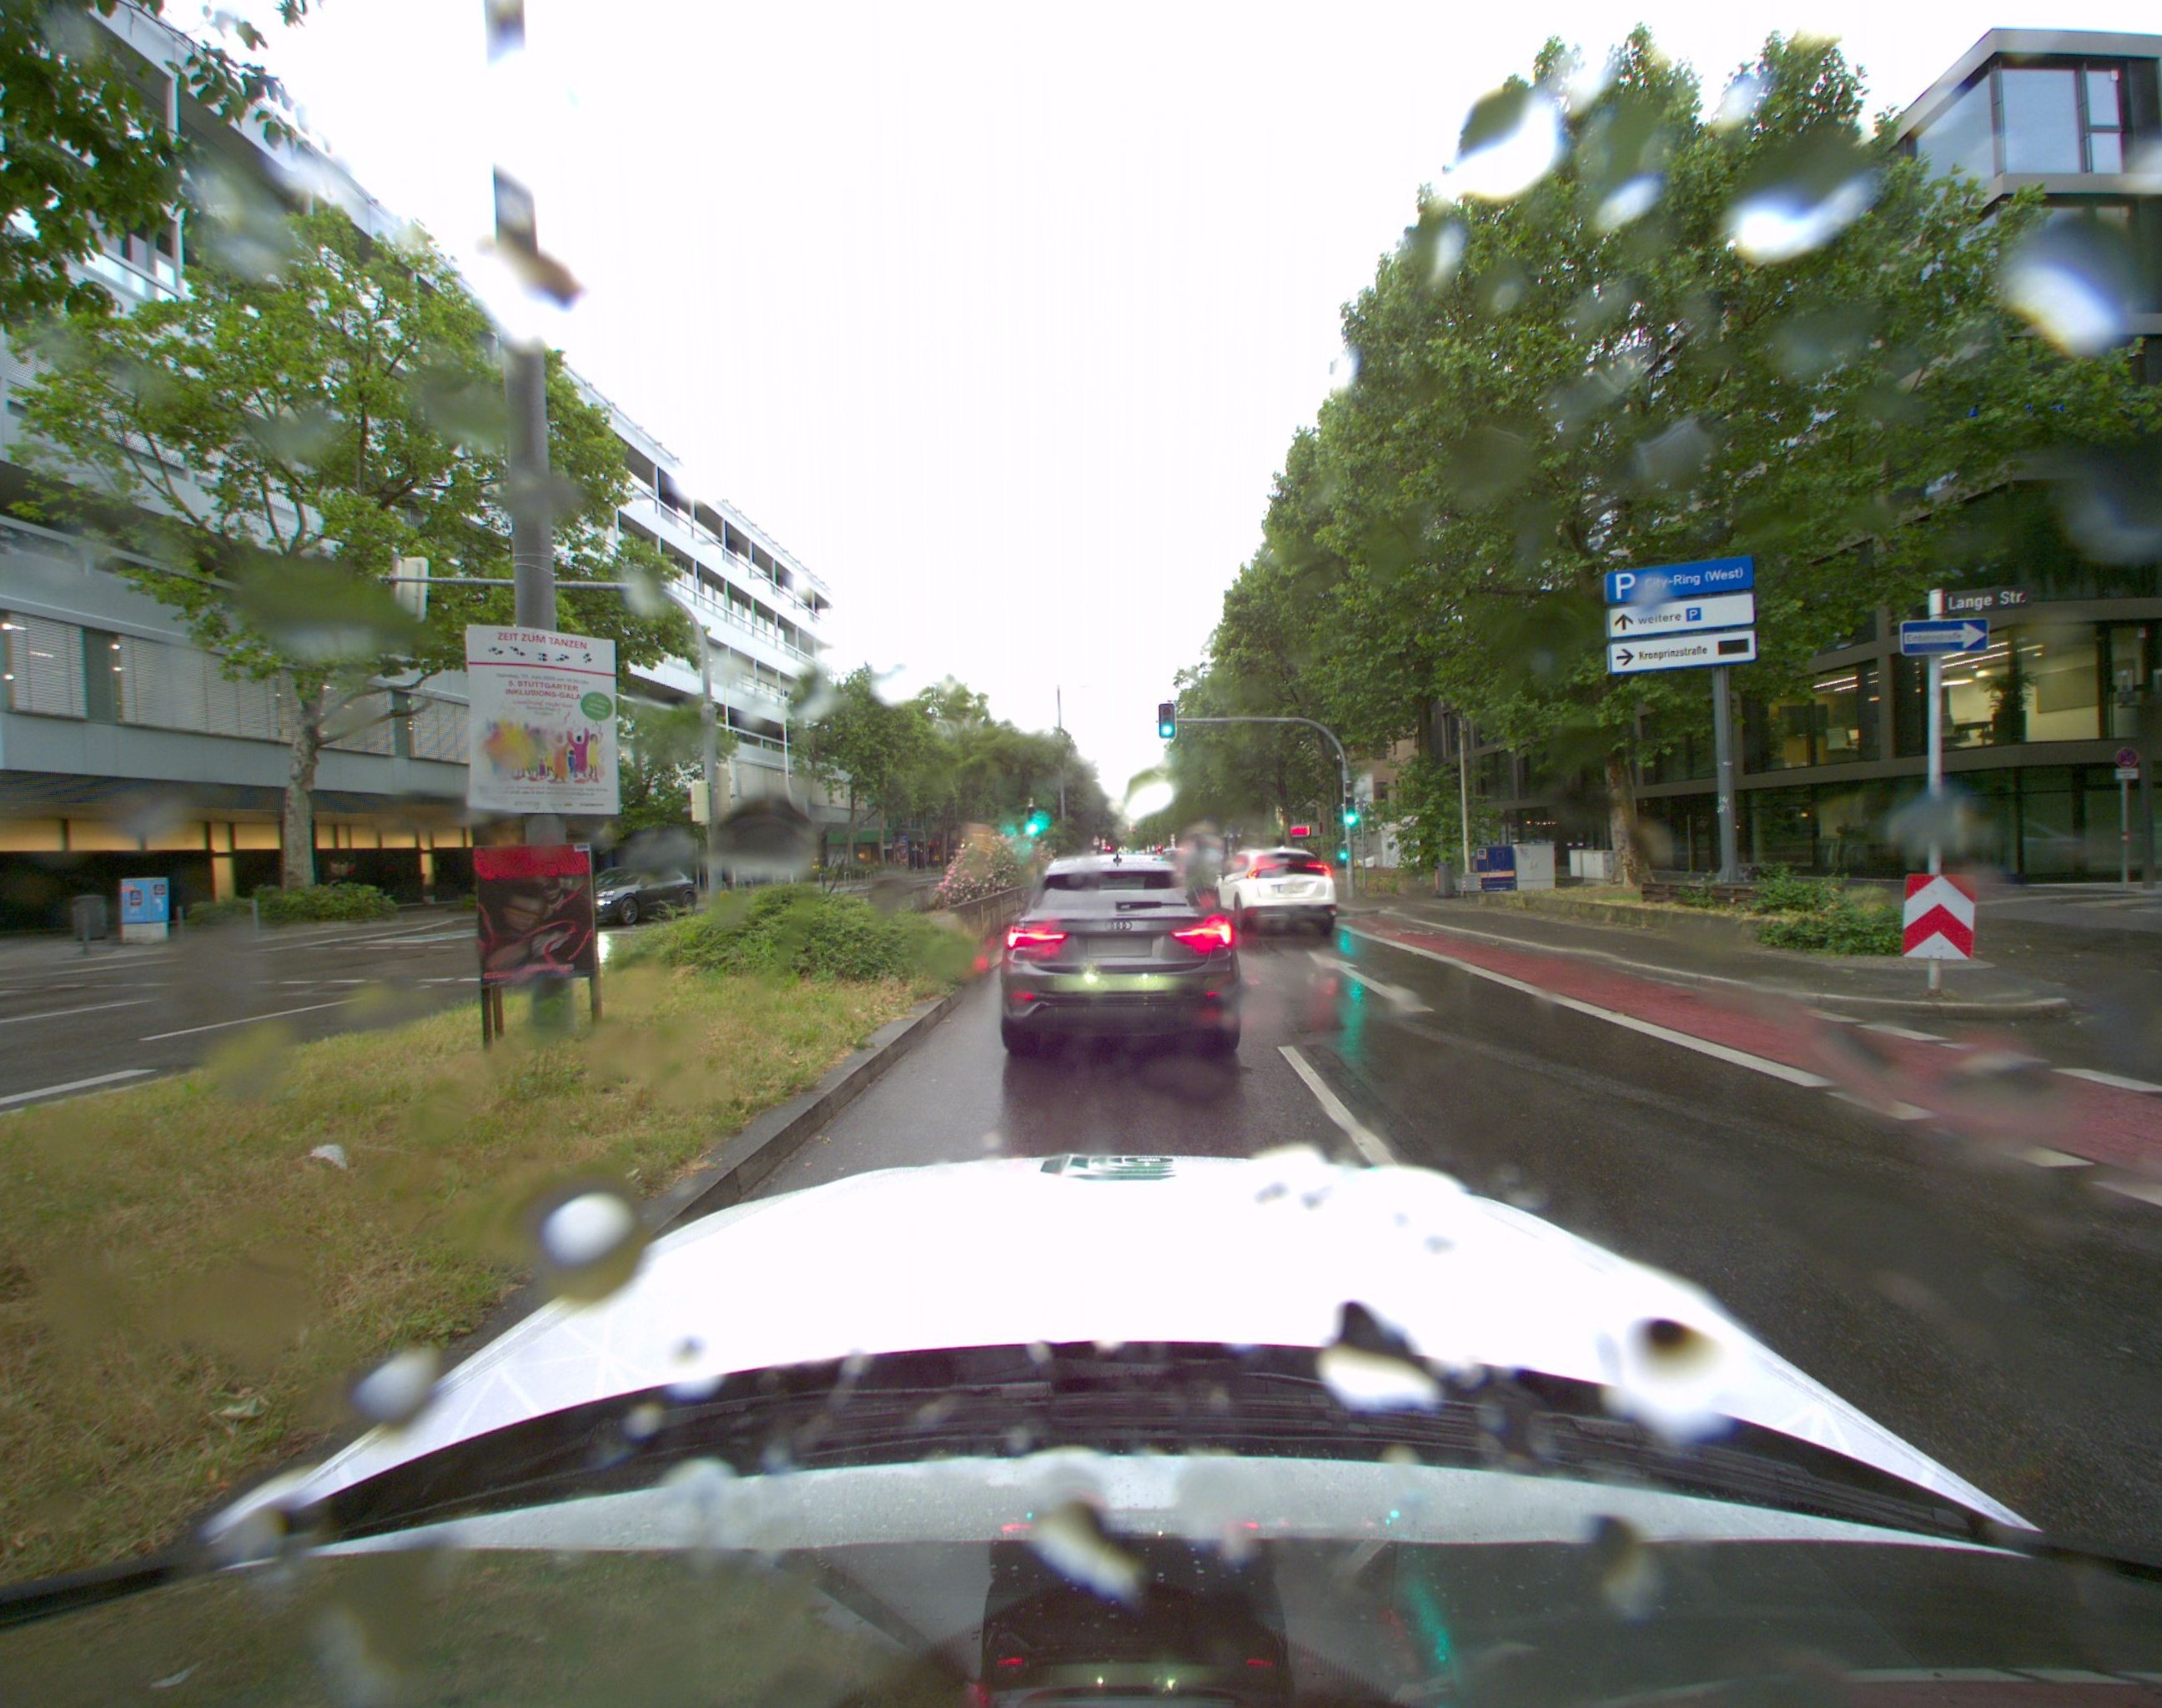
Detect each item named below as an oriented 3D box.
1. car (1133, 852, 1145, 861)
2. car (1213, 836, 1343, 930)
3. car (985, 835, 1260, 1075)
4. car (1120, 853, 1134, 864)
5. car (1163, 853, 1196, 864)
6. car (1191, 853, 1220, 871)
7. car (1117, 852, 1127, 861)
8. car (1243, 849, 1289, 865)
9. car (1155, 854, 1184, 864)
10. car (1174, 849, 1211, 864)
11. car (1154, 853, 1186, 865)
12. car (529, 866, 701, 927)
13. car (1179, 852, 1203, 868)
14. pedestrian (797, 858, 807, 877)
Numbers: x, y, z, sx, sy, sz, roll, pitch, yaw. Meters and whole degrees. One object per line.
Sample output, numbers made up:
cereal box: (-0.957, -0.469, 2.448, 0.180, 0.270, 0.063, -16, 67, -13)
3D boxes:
car: (10.729, 0.420, 151.045, 1.985, 1.651, 4.003, 0, -1, 3)
car: (3.908, 0.555, 16.828, 1.870, 1.697, 4.002, 0, -1, 3)
car: (0.343, 0.698, 7.562, 1.842, 1.602, 4.001, -1, 0, 2)
car: (7.107, 0.666, 125.889, 1.986, 1.726, 4.002, 0, -1, 2)
car: (14.959, 0.717, 123.663, 4.594, 1.706, 2.012, -1, -1, 30)
car: (10.413, 0.648, 68.300, 1.865, 1.421, 4.614, 0, 0, 3)
car: (7.491, 0.454, 149.138, 1.889, 1.599, 3.940, 0, -1, 2)
car: (13.326, 0.235, 58.640, 2.856, 1.074, 1.465, -1, -1, 33)
car: (15.301, 0.838, 140.458, 4.594, 1.706, 2.012, -1, -1, 30)
car: (14.896, 0.383, 108.949, 4.548, 2.014, 1.980, -1, -1, 41)
car: (13.897, 0.795, 127.318, 4.594, 1.706, 2.012, -1, -1, 30)
car: (-13.377, 1.145, 23.806, 1.900, 1.584, 4.754, 0, -1, 6)
car: (10.640, 0.584, 79.115, 1.723, 1.571, 4.070, 0, -1, -2)
pedestrian: (-22.295, 1.050, 65.026, 0.608, 1.482, 0.574, 0, -1, -1)
